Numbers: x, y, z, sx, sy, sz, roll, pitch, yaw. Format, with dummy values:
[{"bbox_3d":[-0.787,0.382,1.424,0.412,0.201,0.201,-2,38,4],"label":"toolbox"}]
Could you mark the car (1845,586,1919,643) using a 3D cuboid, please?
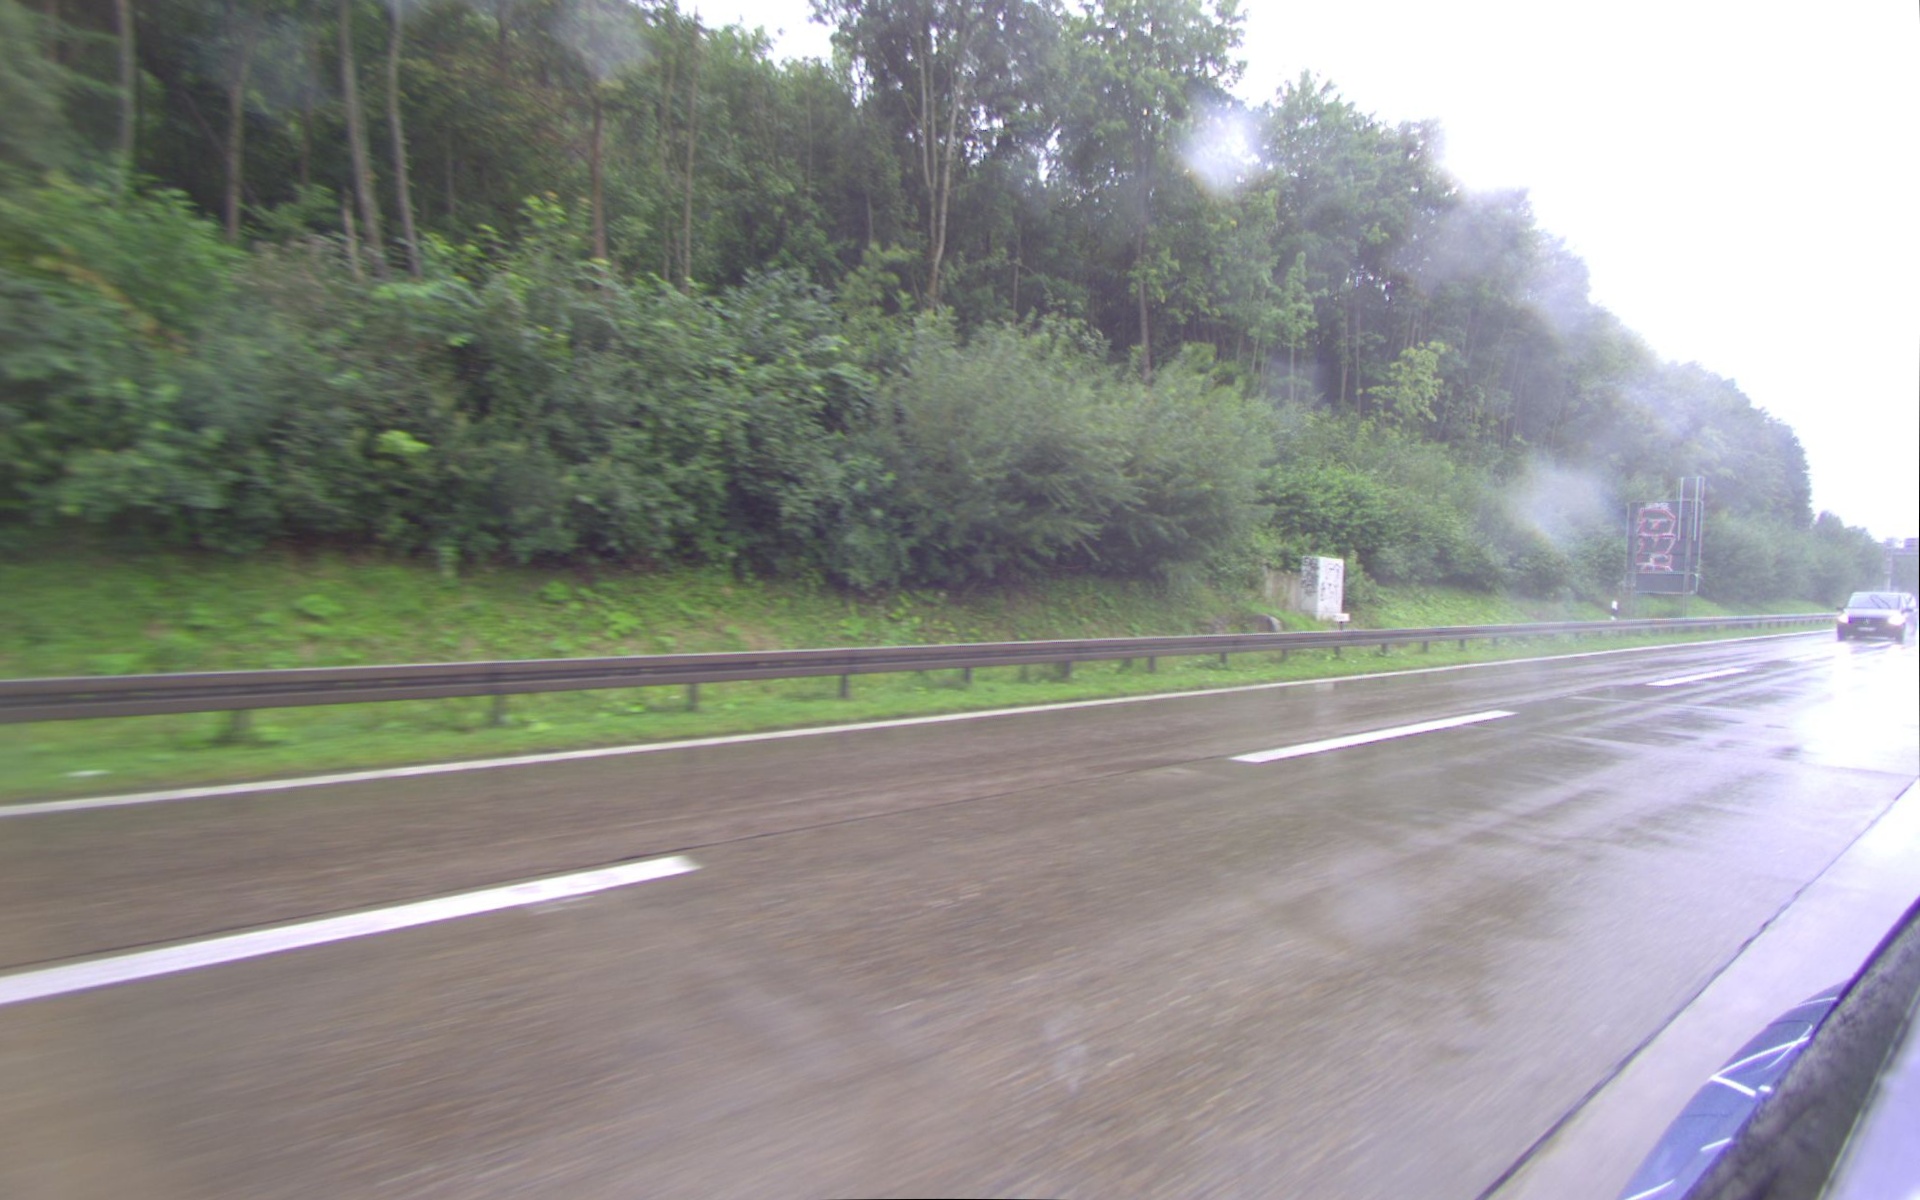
[{"bbox_3d":[35.389,0.518,38.518,3.927,2.039,1.859,0,1,-38],"label":"car"}]
